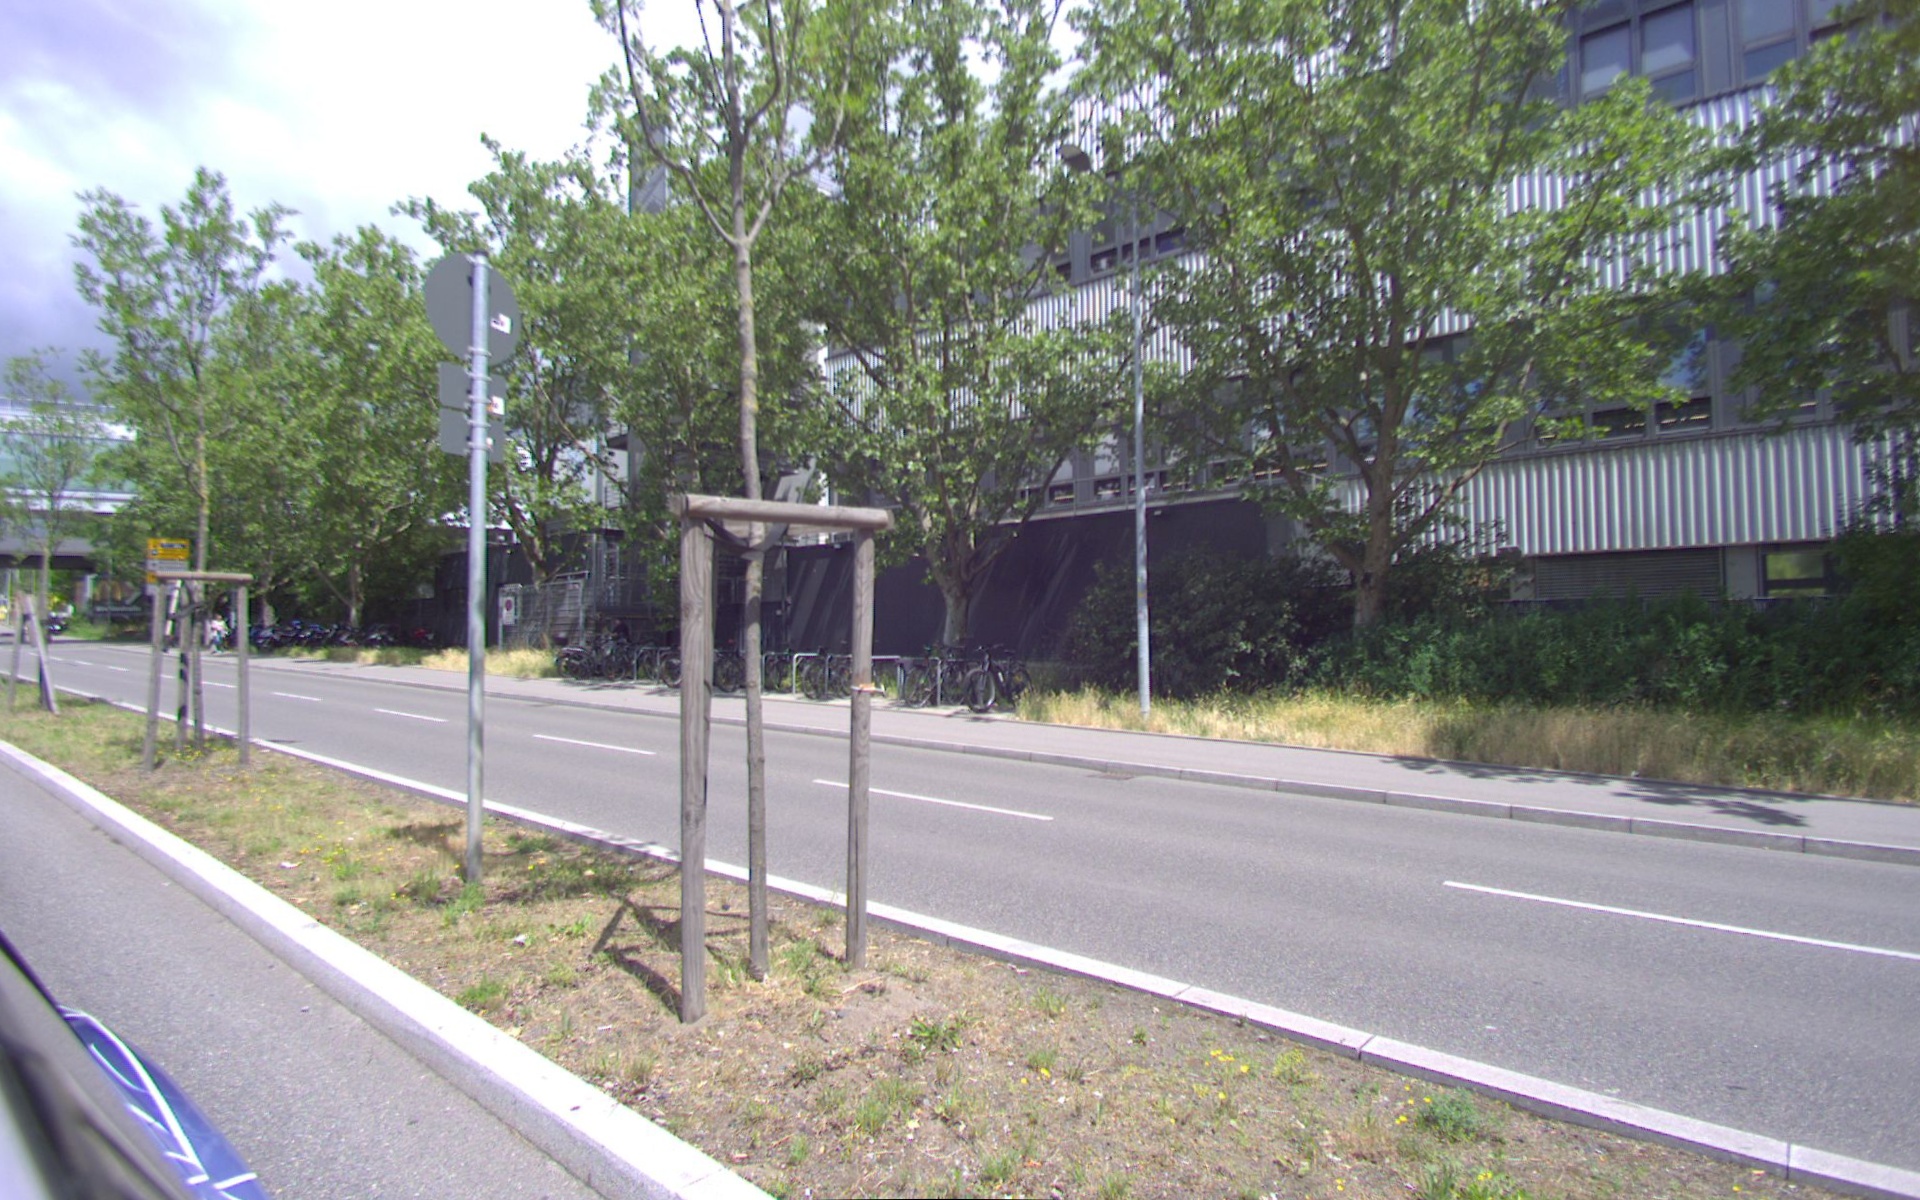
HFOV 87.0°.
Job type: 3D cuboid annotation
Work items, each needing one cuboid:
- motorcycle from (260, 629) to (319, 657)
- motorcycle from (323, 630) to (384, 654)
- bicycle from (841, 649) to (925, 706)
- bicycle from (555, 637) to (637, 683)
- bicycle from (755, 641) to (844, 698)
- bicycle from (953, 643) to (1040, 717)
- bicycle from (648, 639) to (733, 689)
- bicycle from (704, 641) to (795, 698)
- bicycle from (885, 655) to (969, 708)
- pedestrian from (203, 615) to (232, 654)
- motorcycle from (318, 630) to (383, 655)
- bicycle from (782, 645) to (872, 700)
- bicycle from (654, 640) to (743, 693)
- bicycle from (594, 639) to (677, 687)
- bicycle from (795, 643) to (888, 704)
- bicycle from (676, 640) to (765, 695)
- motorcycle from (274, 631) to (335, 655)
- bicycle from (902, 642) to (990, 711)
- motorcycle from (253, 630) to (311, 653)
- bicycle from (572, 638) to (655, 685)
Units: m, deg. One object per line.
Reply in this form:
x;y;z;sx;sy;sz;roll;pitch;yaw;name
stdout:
-29.108;1.868;43.958;0.534;1.146;2.105;-2;-1;41;motorcycle
-25.007;1.721;41.759;0.534;0.892;2.105;-2;-1;41;motorcycle
-1.472;1.481;19.710;0.381;1.005;1.968;-2;-1;39;bicycle
-9.566;1.558;26.651;0.382;1.119;2.101;-2;-1;43;bicycle
-3.414;1.461;21.754;0.382;1.119;2.101;-2;-1;43;bicycle
0.658;1.343;17.401;0.381;1.137;1.968;-2;-1;39;bicycle
-6.483;1.516;24.417;0.382;1.119;2.101;-2;-1;43;bicycle
-4.545;1.484;22.020;0.382;1.119;2.101;-2;-1;43;bicycle
-0.599;1.525;19.224;0.381;0.897;1.968;-2;-1;39;bicycle
-32.829;1.516;44.764;0.672;1.734;0.888;-2;-2;41;pedestrian
-23.961;1.665;39.815;0.534;0.905;2.105;-2;-1;41;motorcycle
-2.746;1.484;21.140;0.382;1.038;2.101;-2;-1;43;bicycle
-5.992;1.505;23.267;0.382;1.119;2.101;-2;-1;43;bicycle
-8.163;1.572;25.541;0.382;1.119;2.101;-2;-1;43;bicycle
-2.342;1.439;20.232;0.382;1.104;2.101;-2;-1;43;bicycle
-5.336;1.493;22.670;0.382;1.119;2.101;-2;-1;43;bicycle
-28.014;1.831;43.276;0.534;0.976;2.105;-2;-1;41;motorcycle
-0.222;1.339;18.123;0.381;1.137;1.968;-2;-1;39;bicycle
-30.181;1.832;45.086;0.534;0.976;2.105;-2;-1;41;motorcycle
-8.907;1.576;26.089;0.382;1.119;2.101;-2;-1;43;bicycle
